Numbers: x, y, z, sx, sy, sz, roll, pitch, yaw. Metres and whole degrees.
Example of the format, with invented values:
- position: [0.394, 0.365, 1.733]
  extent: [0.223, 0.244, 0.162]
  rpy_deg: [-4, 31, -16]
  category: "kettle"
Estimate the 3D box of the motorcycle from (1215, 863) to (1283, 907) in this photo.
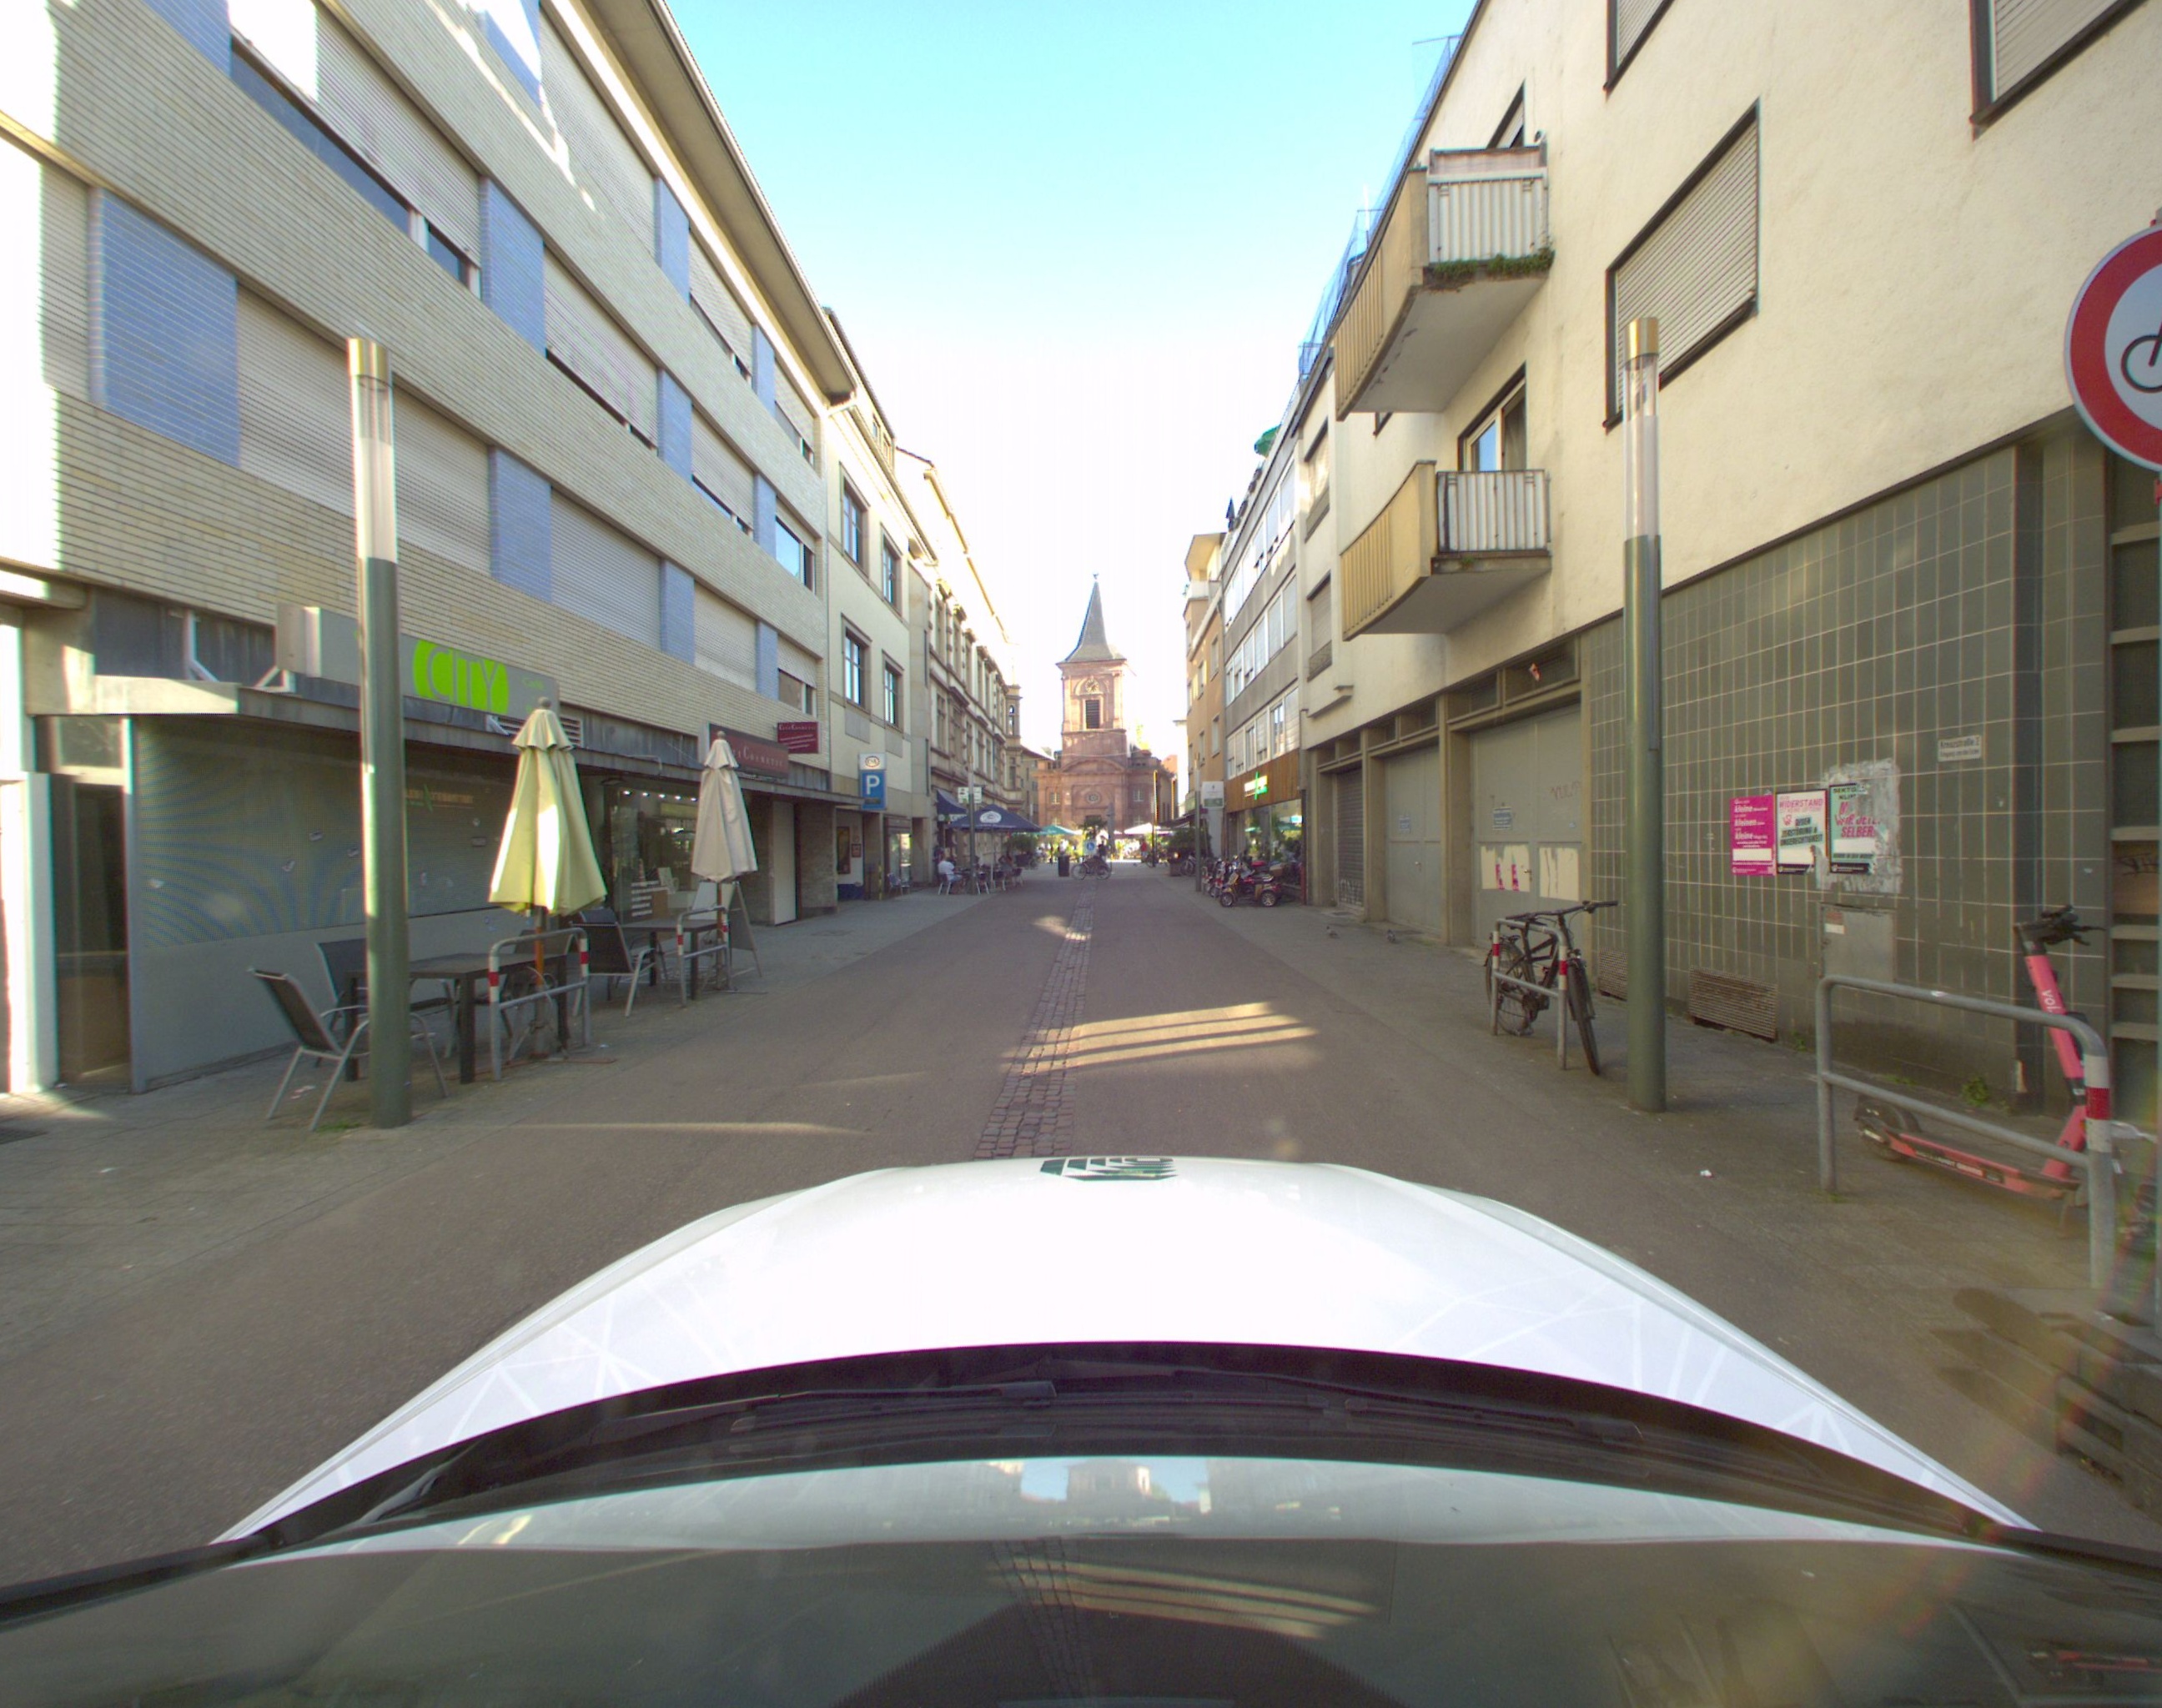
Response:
- position: [4.095, 0.756, 19.876]
  extent: [1.551, 1.041, 0.374]
  rpy_deg: [-1, 0, 19]
  category: "motorcycle"

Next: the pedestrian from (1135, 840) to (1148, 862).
- position: [4.473, -0.238, 60.347]
  extent: [0.615, 1.641, 0.651]
  rpy_deg: [-1, 0, -35]
  category: "pedestrian"

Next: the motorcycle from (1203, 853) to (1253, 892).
- position: [4.610, 0.569, 25.571]
  extent: [1.472, 1.181, 0.414]
  rpy_deg: [-1, 0, 16]
  category: "motorcycle"

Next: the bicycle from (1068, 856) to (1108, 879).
- position: [0.320, 0.630, 36.937]
  extent: [1.819, 1.005, 0.381]
  rpy_deg: [-1, 0, -3]
  category: "bicycle"

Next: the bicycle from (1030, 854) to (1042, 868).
- position: [-2.711, 0.415, 49.429]
  extent: [0.454, 0.850, 2.149]
  rpy_deg: [-1, 1, 5]
  category: "bicycle"

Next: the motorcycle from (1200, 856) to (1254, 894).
- position: [4.232, 0.617, 23.578]
  extent: [1.471, 1.075, 0.414]
  rpy_deg: [-1, 0, 19]
  category: "motorcycle"

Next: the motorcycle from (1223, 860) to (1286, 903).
- position: [4.397, 0.697, 20.651]
  extent: [1.504, 1.075, 0.414]
  rpy_deg: [-1, 0, 19]
  category: "motorcycle"

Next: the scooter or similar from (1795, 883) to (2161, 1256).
- position: [3.771, 0.776, 3.479]
  extent: [0.306, 1.252, 1.238]
  rpy_deg: [-1, 0, -2]
  category: "scooter or similar"

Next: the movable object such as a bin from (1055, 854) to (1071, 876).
- position: [-0.885, 0.543, 40.214]
  extent: [0.719, 1.074, 0.374]
  rpy_deg: [-1, 0, -1]
  category: "movable object such as a bin"

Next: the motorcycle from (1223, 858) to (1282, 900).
- position: [4.550, 0.667, 21.606]
  extent: [1.471, 1.075, 0.414]
  rpy_deg: [-1, 0, 19]
  category: "motorcycle"

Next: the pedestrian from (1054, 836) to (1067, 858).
- position: [-1.500, -0.513, 58.654]
  extent: [0.778, 1.555, 0.537]
  rpy_deg: [-1, 0, 16]
  category: "pedestrian"

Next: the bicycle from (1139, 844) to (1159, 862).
- position: [5.196, -0.077, 62.526]
  extent: [1.595, 1.308, 0.362]
  rpy_deg: [-1, 1, -28]
  category: "bicycle"

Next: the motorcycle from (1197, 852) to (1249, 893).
- position: [4.250, 0.557, 24.447]
  extent: [1.472, 1.181, 0.414]
  rpy_deg: [-1, 0, 16]
  category: "motorcycle"

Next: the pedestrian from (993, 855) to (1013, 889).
- position: [-2.902, 0.651, 30.149]
  extent: [0.691, 1.215, 0.582]
  rpy_deg: [-1, 0, -7]
  category: "pedestrian"

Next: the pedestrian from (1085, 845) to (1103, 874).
- position: [0.648, 0.257, 41.451]
  extent: [0.880, 1.464, 0.731]
  rpy_deg: [-1, 0, 1]
  category: "pedestrian"

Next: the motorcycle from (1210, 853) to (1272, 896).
- position: [4.493, 0.570, 22.847]
  extent: [1.611, 1.175, 0.483]
  rpy_deg: [-1, 0, 19]
  category: "motorcycle"

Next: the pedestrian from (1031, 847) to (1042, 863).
- position: [-3.476, 0.084, 63.451]
  extent: [0.697, 1.218, 0.721]
  rpy_deg: [-1, 0, 7]
  category: "pedestrian"

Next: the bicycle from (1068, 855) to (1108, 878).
- position: [0.304, 0.586, 37.336]
  extent: [1.819, 1.005, 0.381]
  rpy_deg: [-1, 0, -3]
  category: "bicycle"

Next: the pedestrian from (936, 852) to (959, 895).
- position: [-4.356, 0.634, 26.617]
  extent: [0.708, 1.368, 0.717]
  rpy_deg: [-1, 0, -11]
  category: "pedestrian"

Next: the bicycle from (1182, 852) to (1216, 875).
- position: [5.255, 0.432, 36.338]
  extent: [1.455, 1.005, 0.574]
  rpy_deg: [-1, 0, 8]
  category: "bicycle"

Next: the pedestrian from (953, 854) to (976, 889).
- position: [-4.204, 0.625, 29.400]
  extent: [0.764, 1.233, 0.829]
  rpy_deg: [-1, 1, -7]
  category: "pedestrian"

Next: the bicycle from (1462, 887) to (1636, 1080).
- position: [3.311, 0.840, 5.927]
  extent: [0.444, 1.140, 1.713]
  rpy_deg: [0, -1, 6]
  category: "bicycle"

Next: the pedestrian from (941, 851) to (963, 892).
- position: [-4.386, 0.588, 27.697]
  extent: [0.718, 1.368, 0.707]
  rpy_deg: [-1, 0, -11]
  category: "pedestrian"
